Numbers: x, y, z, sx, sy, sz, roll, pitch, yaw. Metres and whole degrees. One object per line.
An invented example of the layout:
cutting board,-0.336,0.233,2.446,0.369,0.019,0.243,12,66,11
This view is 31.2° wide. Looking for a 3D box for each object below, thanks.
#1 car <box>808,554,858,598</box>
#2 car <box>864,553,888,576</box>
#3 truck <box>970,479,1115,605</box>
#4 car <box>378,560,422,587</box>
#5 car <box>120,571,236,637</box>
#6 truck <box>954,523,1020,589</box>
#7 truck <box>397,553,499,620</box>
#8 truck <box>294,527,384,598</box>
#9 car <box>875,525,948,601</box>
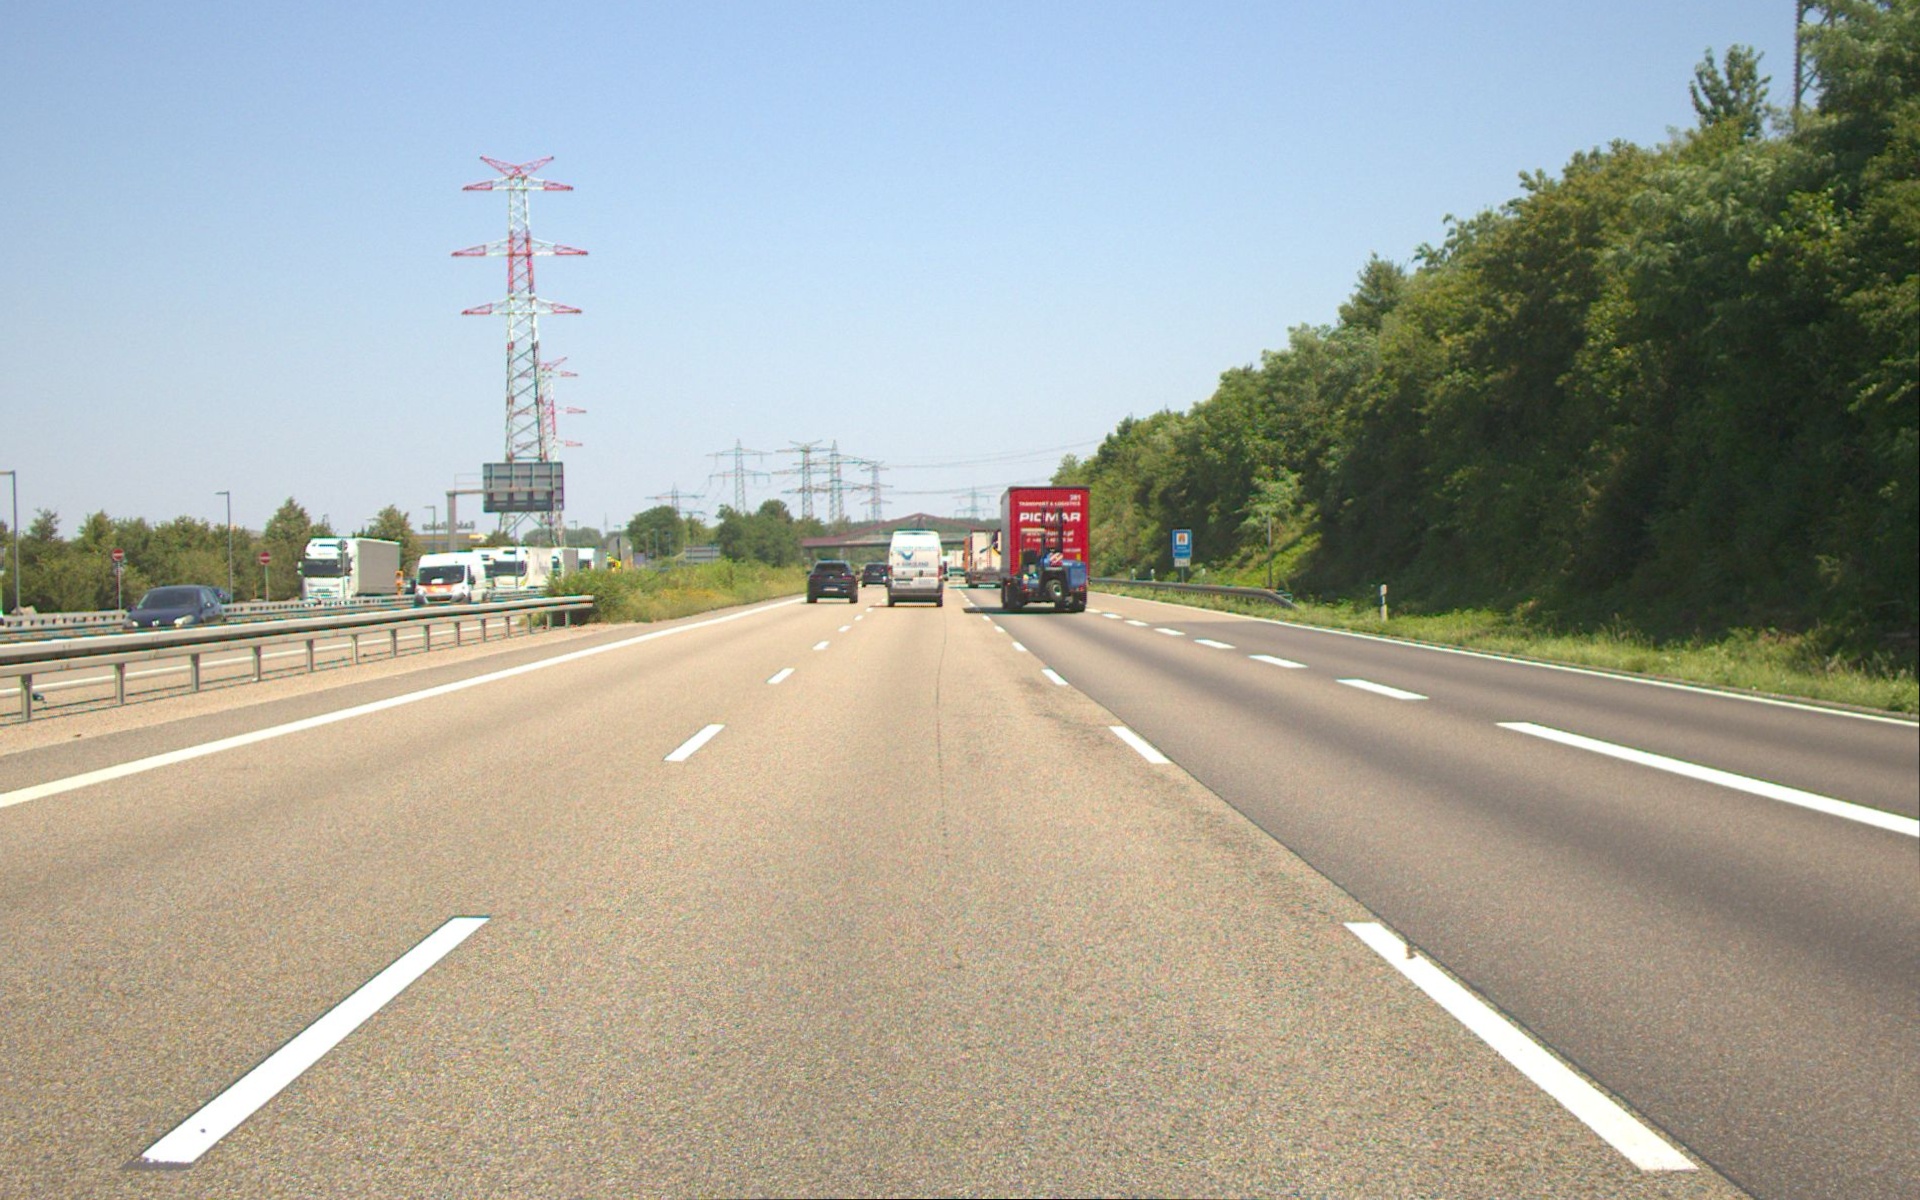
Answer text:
car,-5.148,-0.991,139.827,1.993,1.744,4.000,0,1,-1
car,-6.021,-2.556,246.618,1.747,1.628,4.004,0,1,-1
truck,2.601,-1.965,115.623,4.331,3.928,16.078,0,1,-1
car,-30.227,-1.453,185.572,1.815,1.386,3.904,-1,1,-1
car,-17.856,0.075,78.663,1.815,1.386,3.904,-1,1,-1
truck,1.833,-3.147,241.279,4.331,4.508,16.078,0,1,-1
truck,-19.590,-0.551,131.883,2.717,2.413,8.107,-1,1,0
truck,-33.978,-2.040,188.558,2.717,3.705,12.389,-1,1,0
car,-1.813,-1.389,127.912,2.621,2.749,6.097,0,1,-1
